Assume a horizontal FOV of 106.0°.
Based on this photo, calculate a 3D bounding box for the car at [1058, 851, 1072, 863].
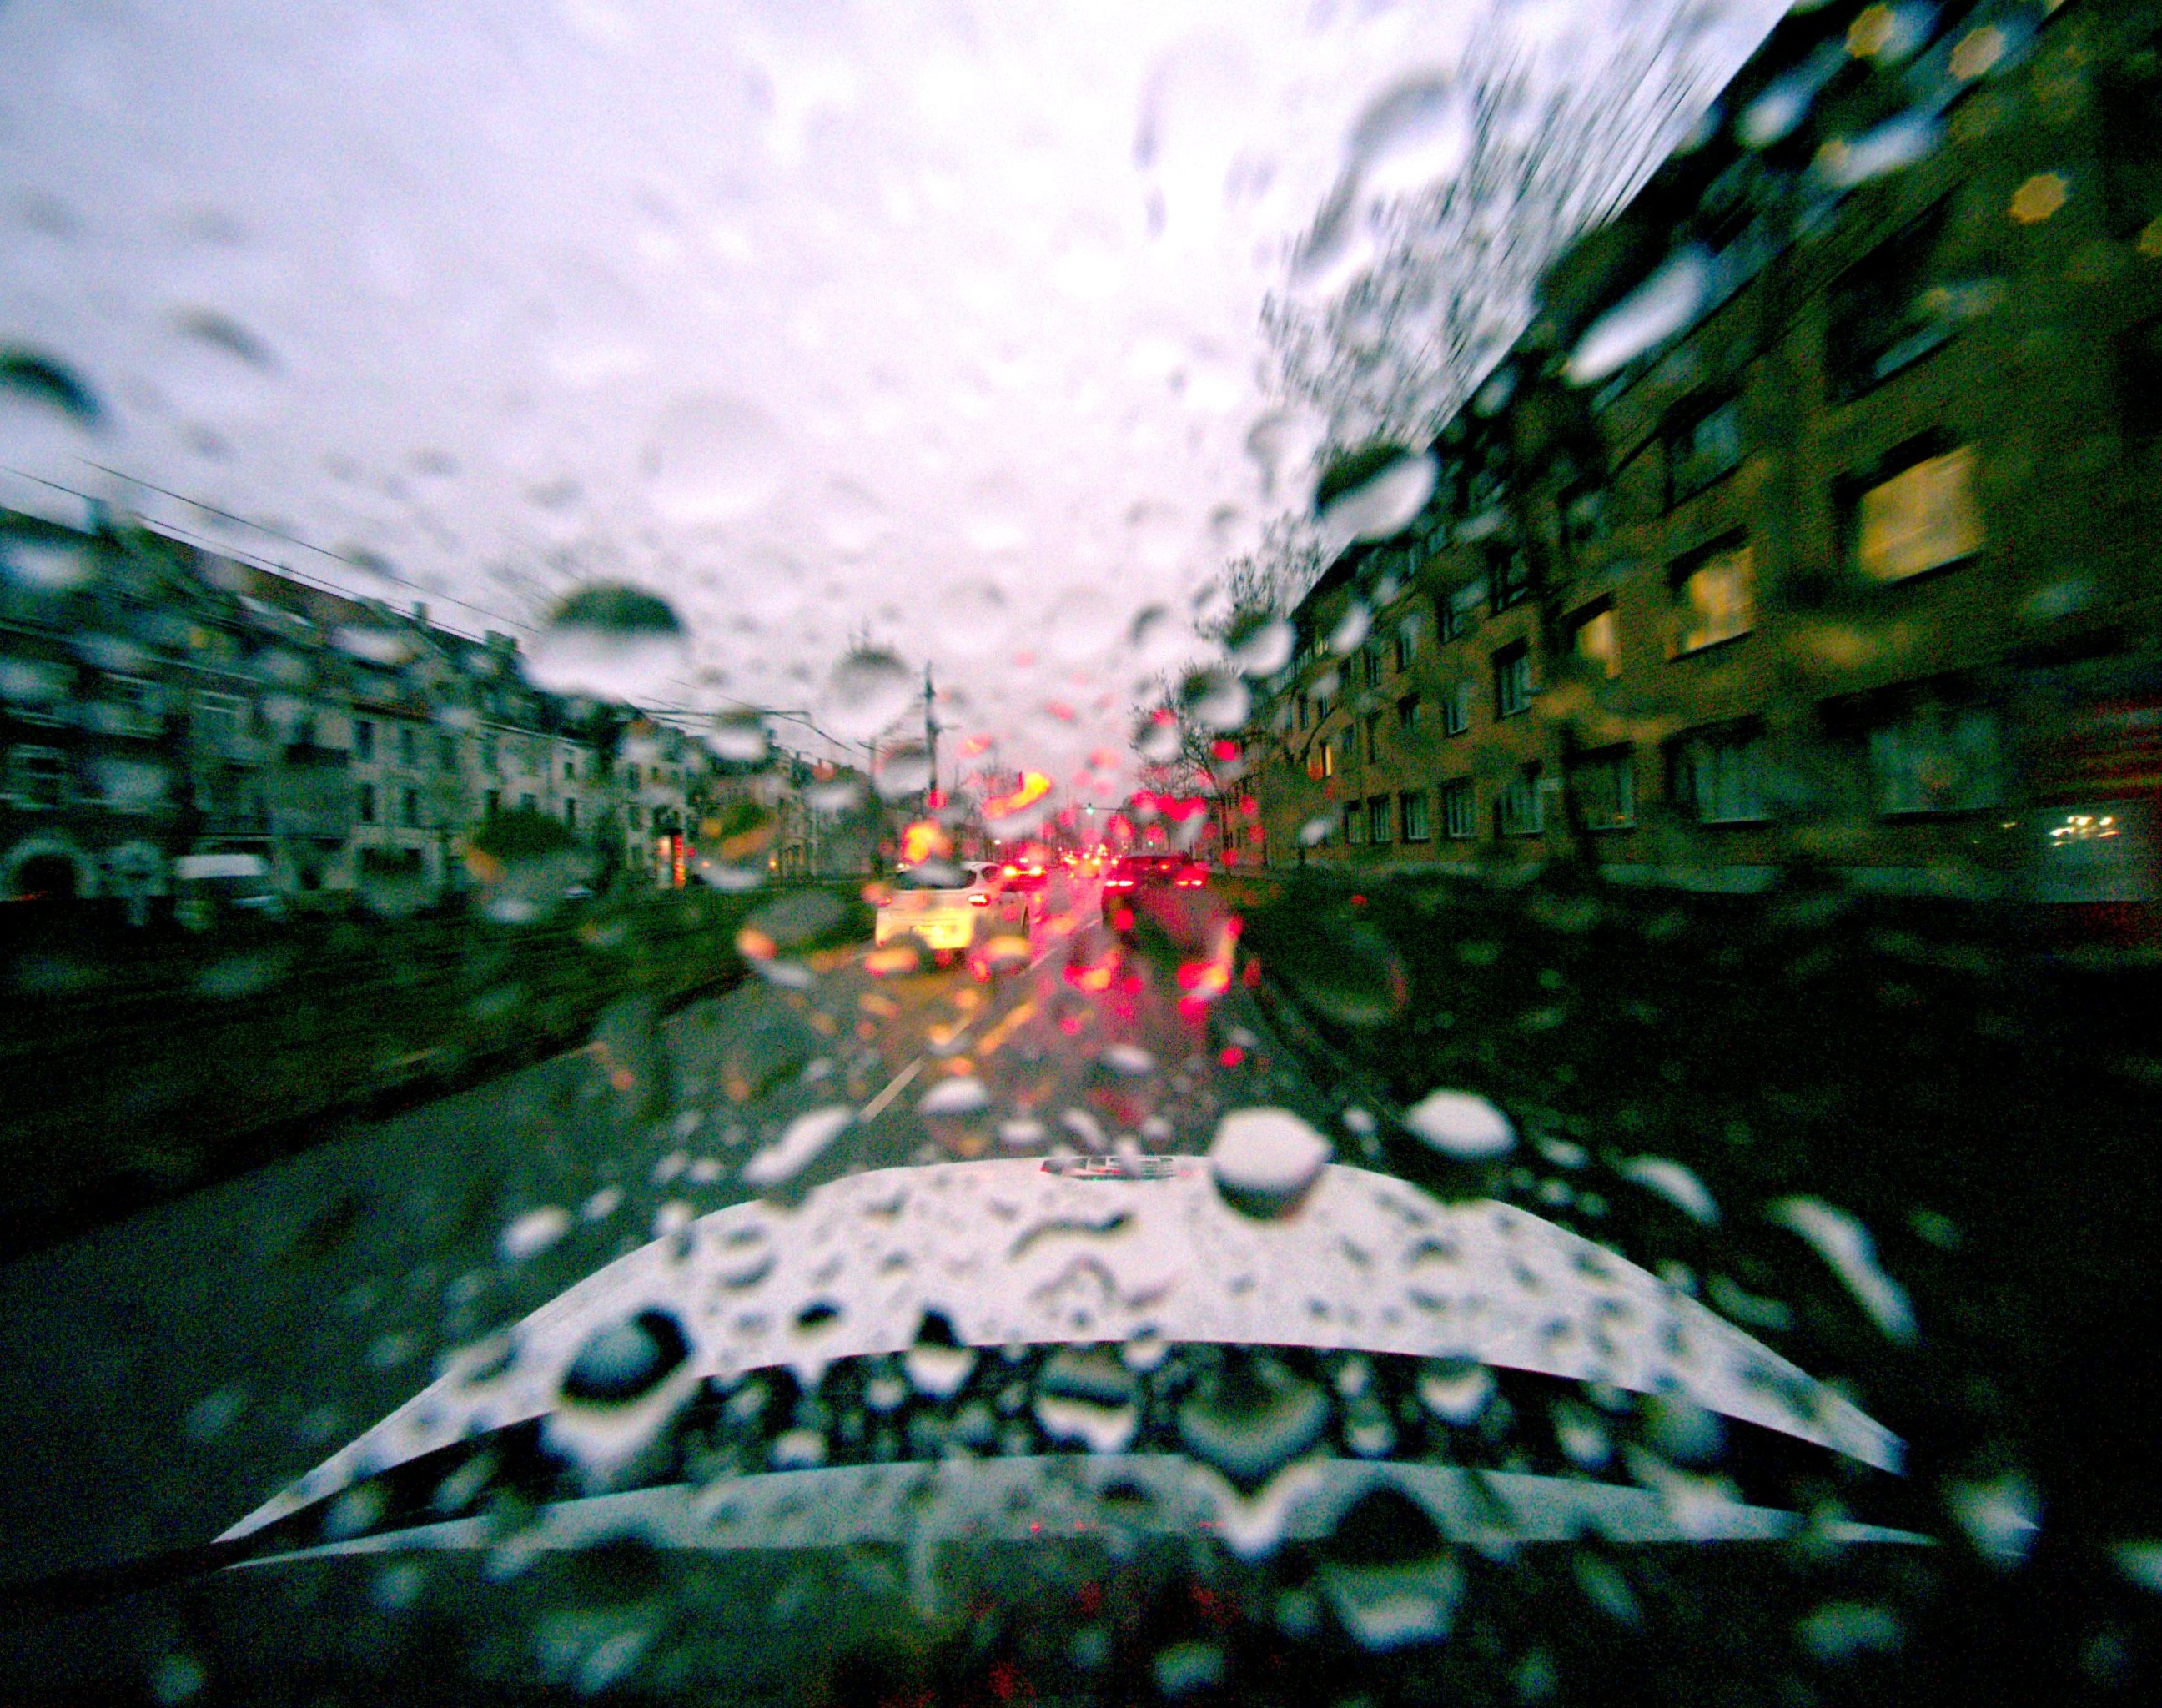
[{"bbox_3d":[-2.455,0.491,125.594,1.986,1.717,4.002,-3,0,2],"label":"car"}]

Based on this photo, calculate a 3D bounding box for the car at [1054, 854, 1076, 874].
[{"bbox_3d":[-1.629,1.024,85.305,1.986,2.013,4.002,-3,0,2],"label":"car"}]

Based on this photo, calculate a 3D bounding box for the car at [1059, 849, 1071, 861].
[{"bbox_3d":[-2.786,0.218,144.722,1.810,2.013,4.002,-3,0,2],"label":"car"}]

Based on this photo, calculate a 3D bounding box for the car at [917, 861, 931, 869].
[{"bbox_3d":[-28.565,1.939,148.530,1.770,1.354,3.556,-3,0,0],"label":"car"}]

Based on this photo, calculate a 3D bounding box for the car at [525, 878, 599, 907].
[{"bbox_3d":[-27.051,2.020,42.401,3.948,1.332,2.013,-3,0,38],"label":"car"}]

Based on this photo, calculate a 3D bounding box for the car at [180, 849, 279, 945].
[{"bbox_3d":[-27.973,1.379,26.701,5.792,2.797,2.012,-3,0,42],"label":"car"}]

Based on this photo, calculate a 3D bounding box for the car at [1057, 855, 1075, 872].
[{"bbox_3d":[-1.772,1.153,100.437,1.933,1.837,4.002,-3,0,2],"label":"car"}]

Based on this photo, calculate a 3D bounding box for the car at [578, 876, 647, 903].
[{"bbox_3d":[-26.433,2.033,45.925,3.948,1.332,2.013,-3,0,38],"label":"car"}]

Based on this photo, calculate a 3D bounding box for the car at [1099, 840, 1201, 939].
[{"bbox_3d":[1.193,0.590,15.588,1.666,1.600,4.054,-1,0,1],"label":"car"}]

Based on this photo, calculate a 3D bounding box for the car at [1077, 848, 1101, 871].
[{"bbox_3d":[0.589,0.391,60.130,1.666,1.600,4.054,-1,0,1],"label":"car"}]

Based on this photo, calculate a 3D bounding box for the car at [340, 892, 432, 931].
[{"bbox_3d":[-27.950,2.274,32.730,3.948,1.332,2.013,-3,0,38],"label":"car"}]

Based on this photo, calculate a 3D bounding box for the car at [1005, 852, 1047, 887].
[{"bbox_3d":[-2.654,0.731,39.992,1.666,1.600,4.054,-1,0,1],"label":"car"}]

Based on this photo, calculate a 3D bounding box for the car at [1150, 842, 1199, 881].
[{"bbox_3d":[4.554,0.369,40.373,1.986,1.744,4.001,-3,0,1],"label":"car"}]

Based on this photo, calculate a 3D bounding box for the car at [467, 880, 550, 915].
[{"bbox_3d":[-27.649,2.109,39.305,3.948,1.486,2.013,-3,0,35],"label":"car"}]

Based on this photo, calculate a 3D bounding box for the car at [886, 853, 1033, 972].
[{"bbox_3d":[-1.789,0.806,13.252,1.666,1.600,4.054,-1,0,1],"label":"car"}]
